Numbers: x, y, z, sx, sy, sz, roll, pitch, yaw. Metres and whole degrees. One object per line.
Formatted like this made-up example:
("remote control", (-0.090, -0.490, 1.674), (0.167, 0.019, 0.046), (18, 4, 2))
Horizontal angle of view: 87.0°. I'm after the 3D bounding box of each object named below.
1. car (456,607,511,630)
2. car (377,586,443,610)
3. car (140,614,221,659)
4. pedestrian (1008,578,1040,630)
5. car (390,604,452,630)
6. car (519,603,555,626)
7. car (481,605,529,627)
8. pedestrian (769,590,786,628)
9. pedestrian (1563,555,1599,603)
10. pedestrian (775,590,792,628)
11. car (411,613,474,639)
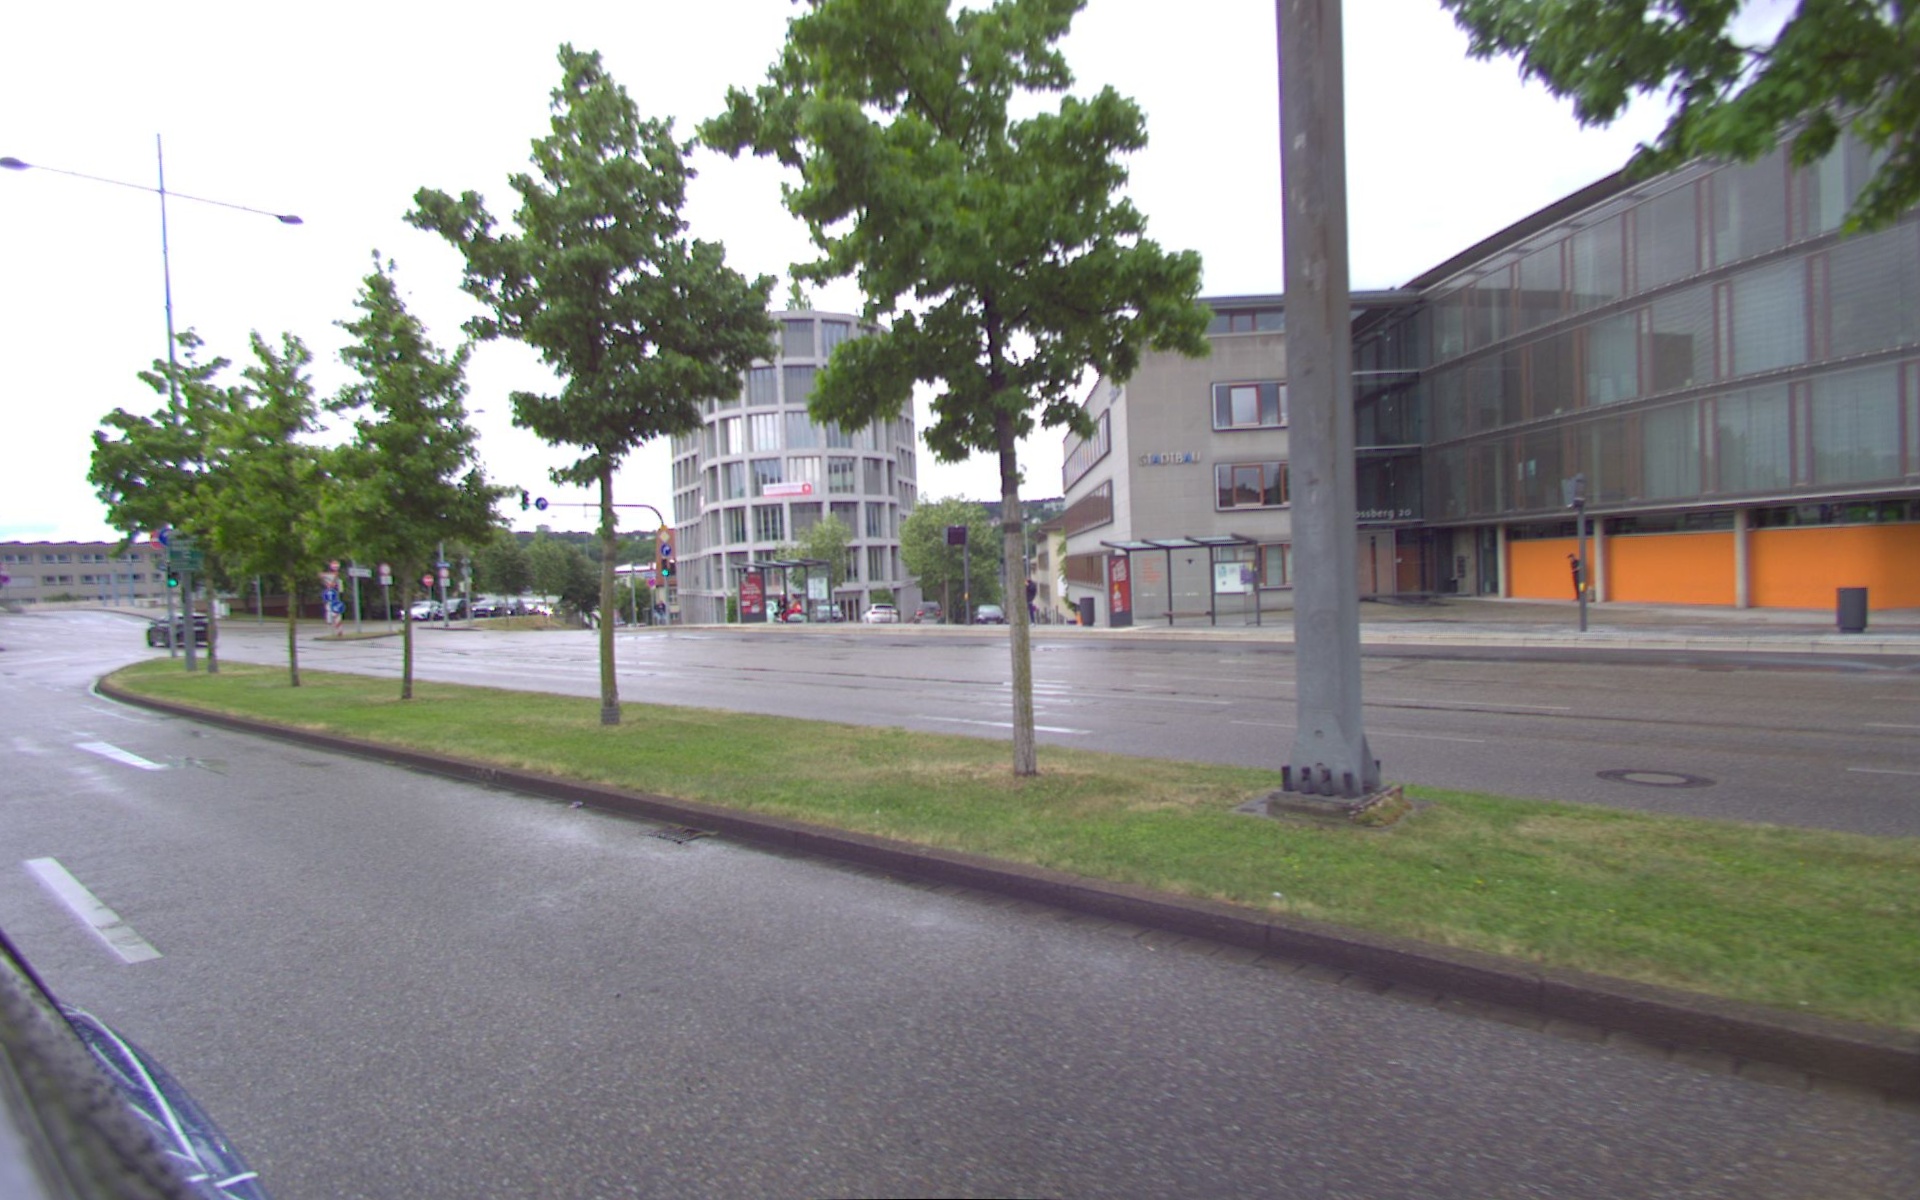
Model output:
("car", (-37.448, 1.422, 79.634), (2.164, 1.725, 4.920), (-1, 0, -3))
("car", (-51.495, -0.182, 94.845), (4.963, 2.029, 2.311), (-1, 0, 0))
("car", (-33.466, 1.532, 43.424), (3.998, 1.789, 1.973), (-1, 0, 41))
("pedestrian", (2.239, 0.142, 35.236), (0.964, 1.774, 0.783), (-1, 0, 12))
("car", (-39.951, 1.234, 75.144), (2.164, 1.725, 4.919), (-1, 0, -3))
("car", (-39.171, 1.384, 93.837), (1.969, 2.029, 4.005), (-1, -2, -6))
("car", (-39.136, 1.340, 87.140), (2.164, 1.725, 4.920), (-1, 0, -3))
("pedestrian", (-8.001, 0.403, 44.326), (0.501, 1.647, 0.497), (-1, 0, 41))
("pedestrian", (22.108, -0.730, 36.038), (0.697, 1.666, 0.852), (-1, 0, -6))
("pedestrian", (-7.827, 0.401, 44.901), (0.535, 1.647, 0.514), (-1, 0, 41))
("car", (-37.026, 1.830, 72.591), (2.164, 1.725, 4.920), (-1, 0, -3))
